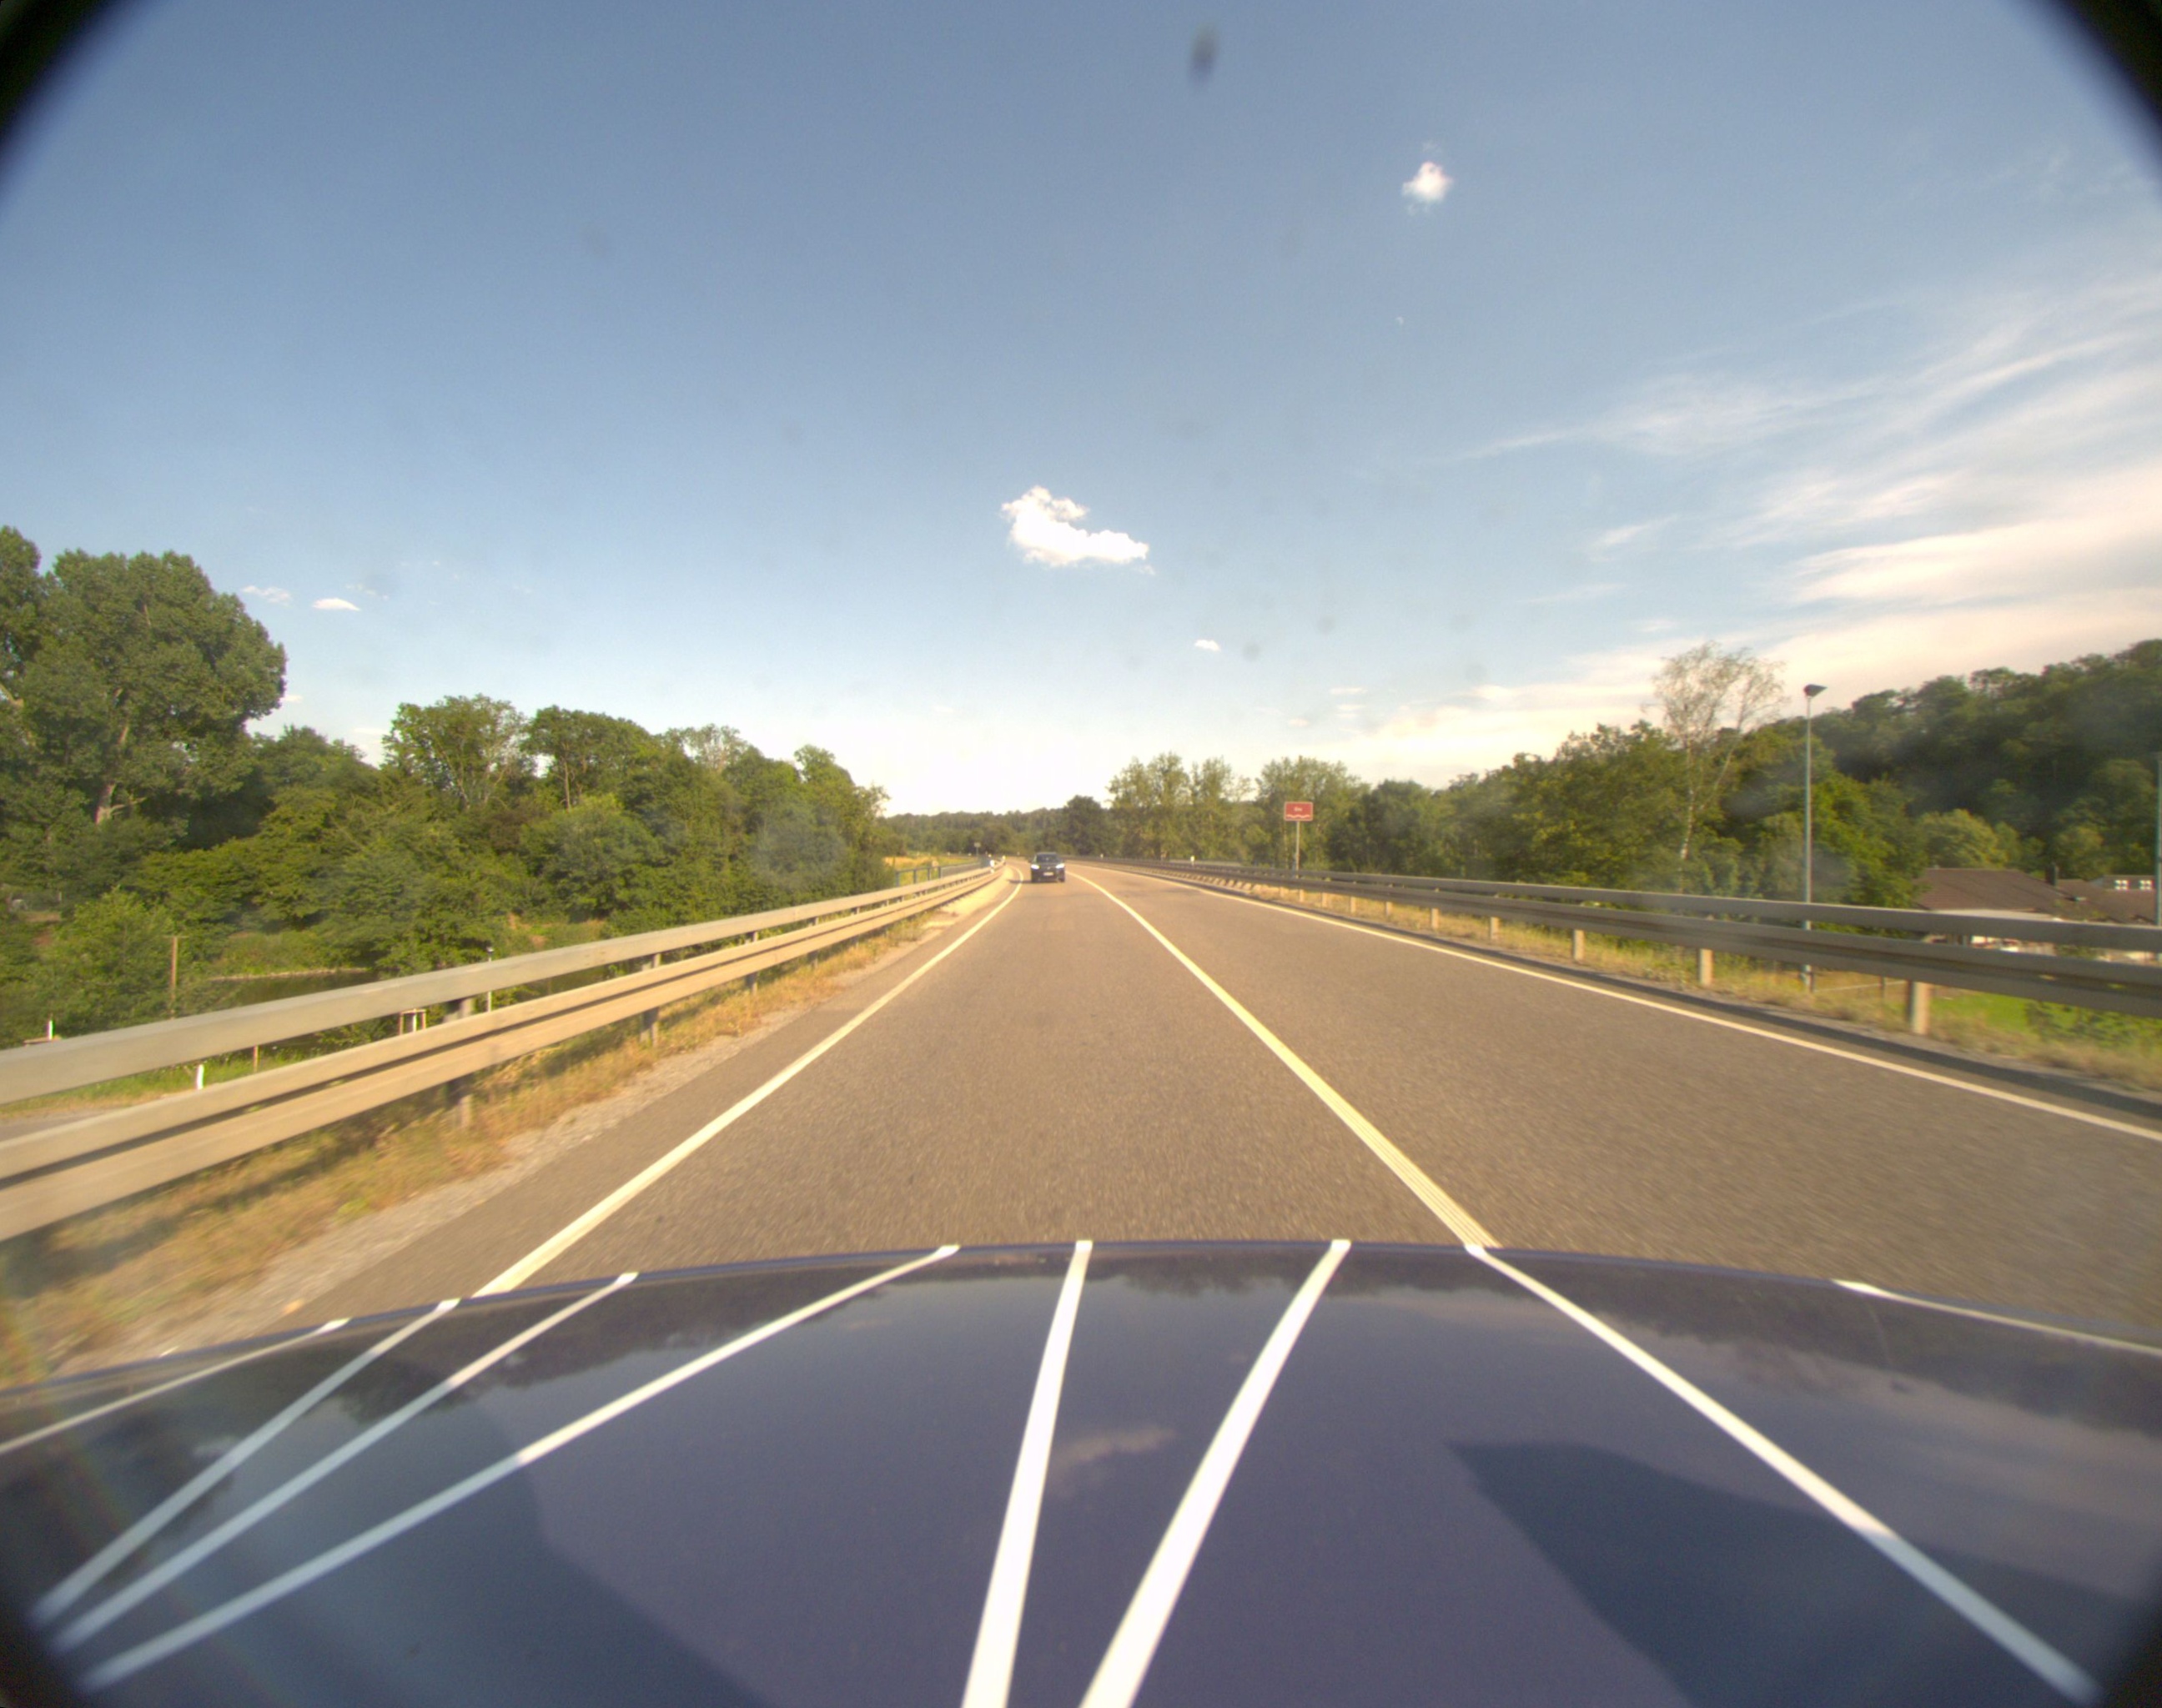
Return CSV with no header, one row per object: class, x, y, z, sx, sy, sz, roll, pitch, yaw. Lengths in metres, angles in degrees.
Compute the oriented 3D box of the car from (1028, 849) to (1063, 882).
car,-2.000,0.604,42.181,1.751,1.645,4.303,-1,1,-5
